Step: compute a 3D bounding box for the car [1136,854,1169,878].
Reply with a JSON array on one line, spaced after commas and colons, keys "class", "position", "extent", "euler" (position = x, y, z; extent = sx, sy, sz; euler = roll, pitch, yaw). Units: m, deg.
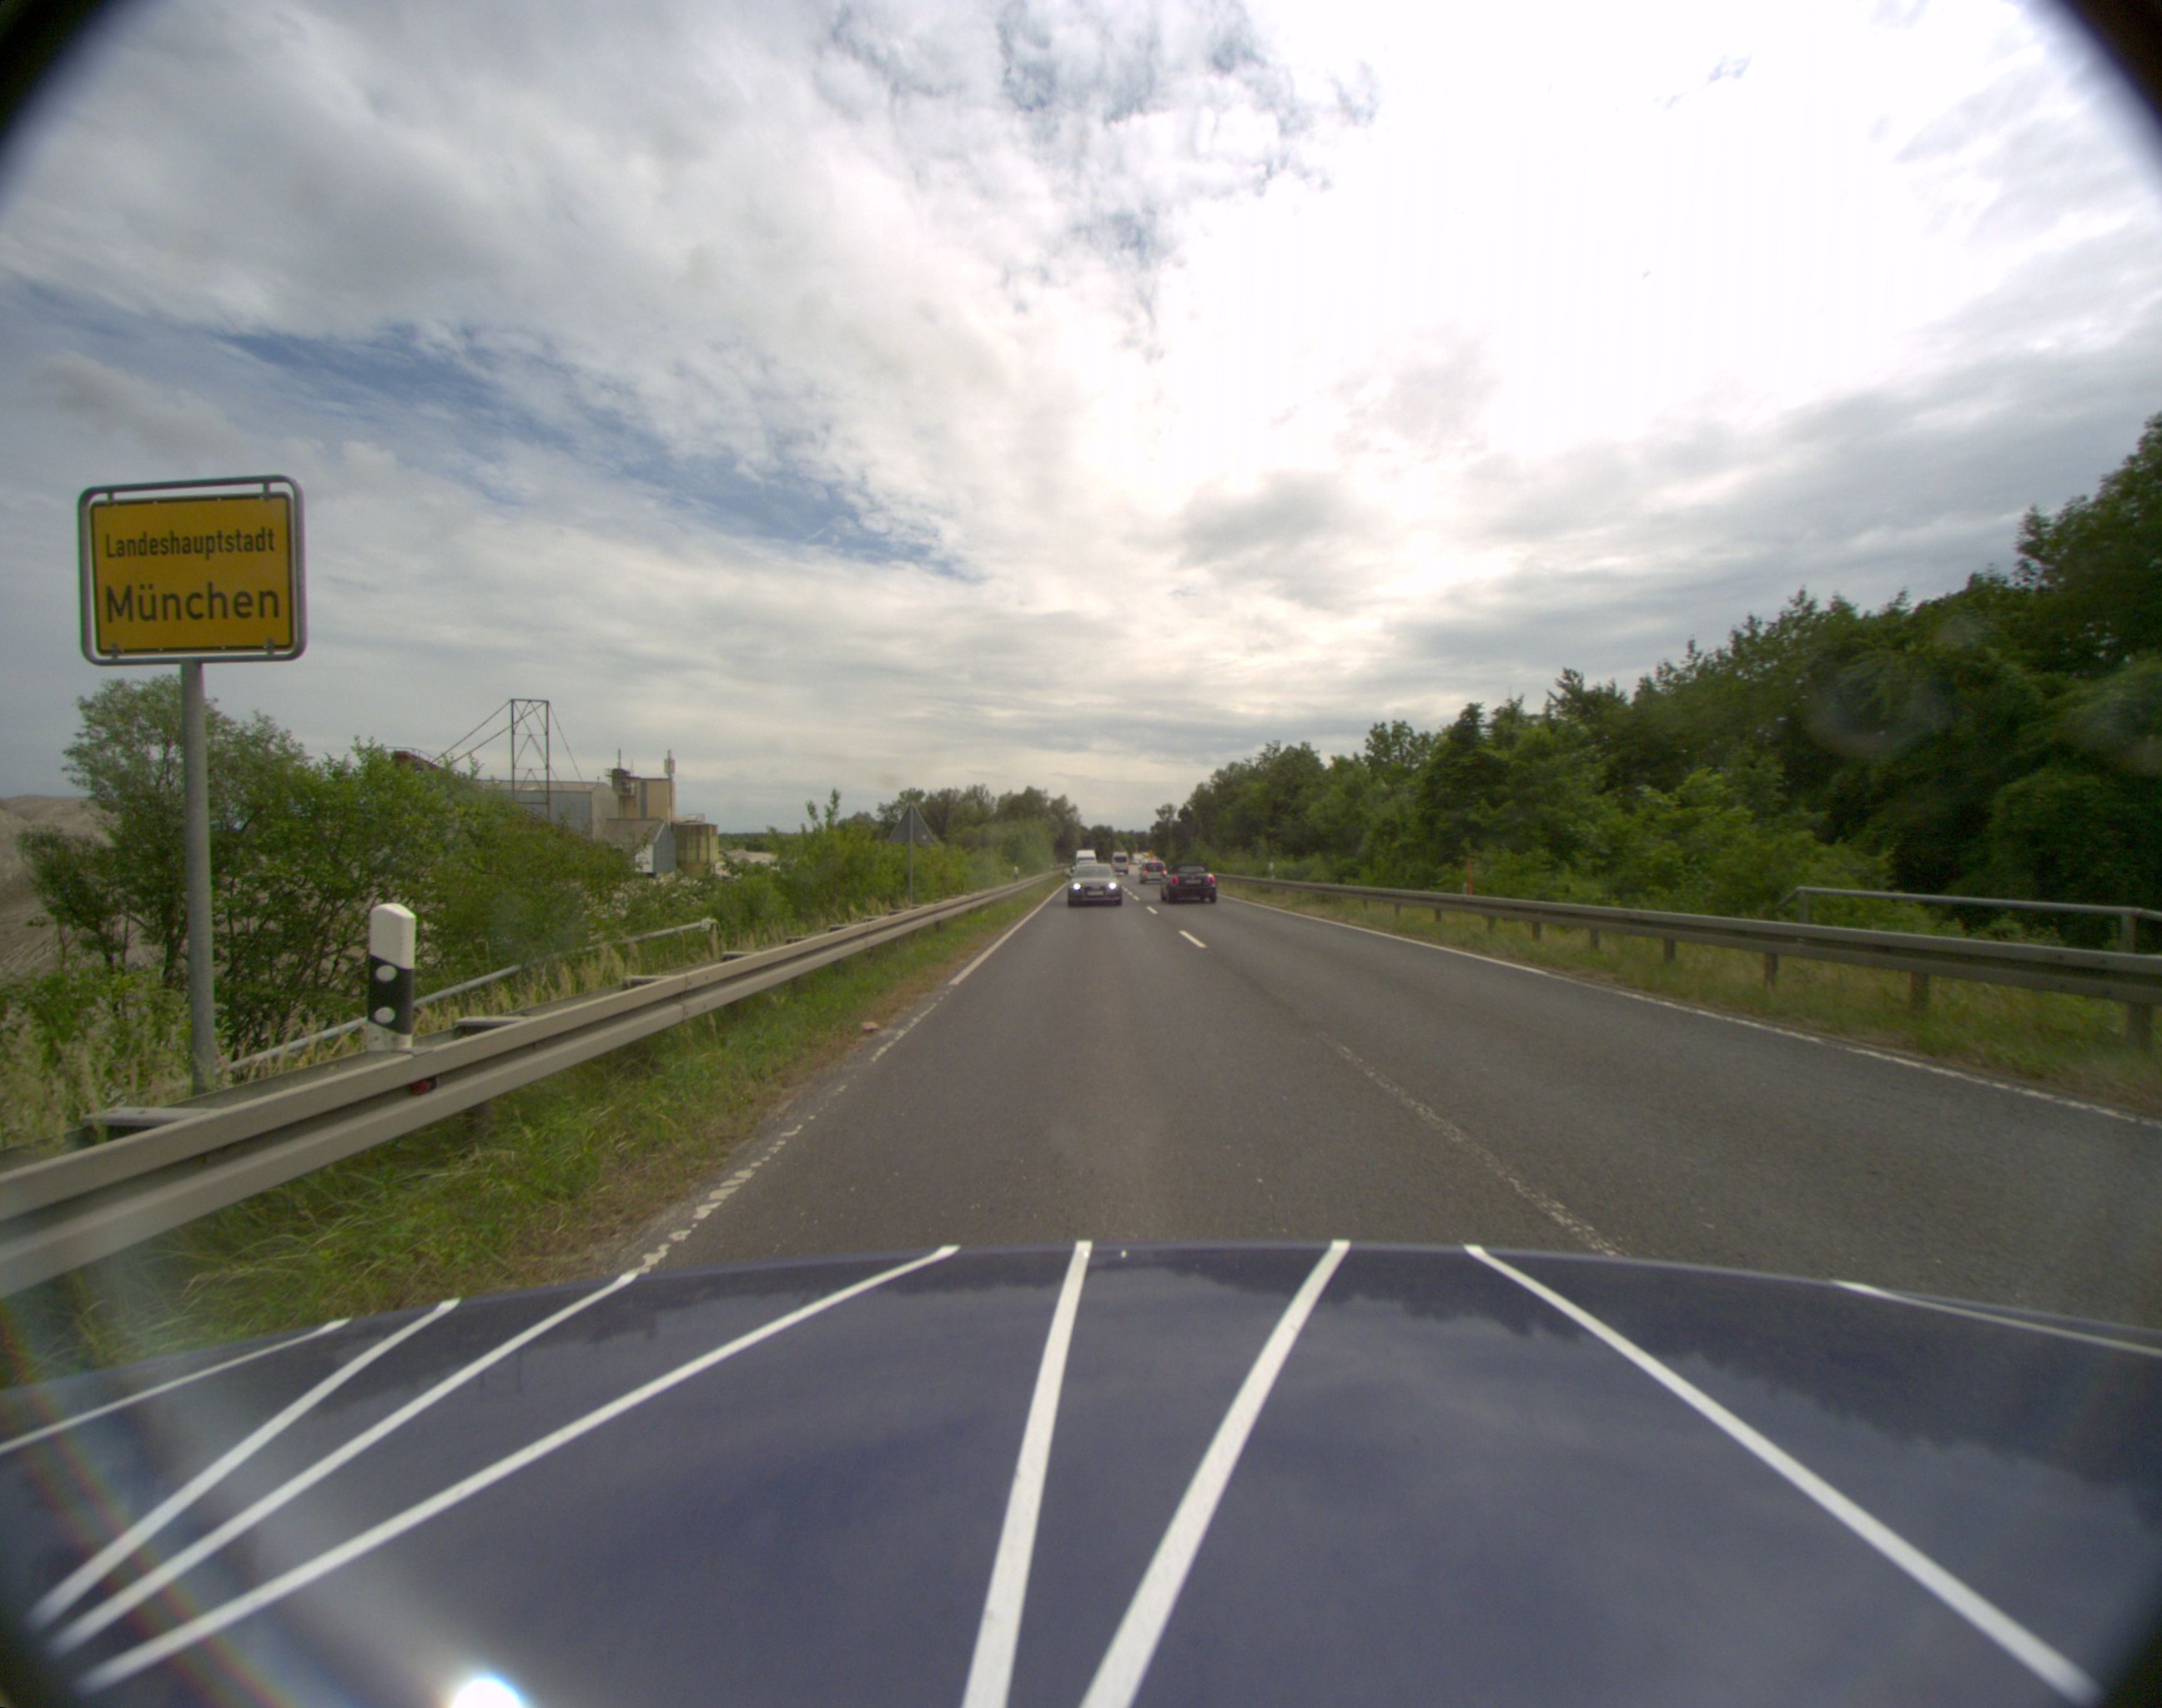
[{"class": "car", "position": [4.678, 0.753, 50.274], "extent": [1.840, 1.436, 4.000], "euler": [-2, 0, 2]}]

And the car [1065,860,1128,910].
[{"class": "car", "position": [0.557, 1.018, 26.678], "extent": [1.965, 1.446, 4.796], "euler": [-2, 1, 1]}]

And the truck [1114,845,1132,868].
[{"class": "truck", "position": [5.195, 0.270, 94.210], "extent": [2.070, 2.726, 7.007], "euler": [-3, 0, 2]}]

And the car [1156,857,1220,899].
[{"class": "car", "position": [3.862, 0.837, 28.052], "extent": [1.840, 1.411, 4.000], "euler": [-1, 0, 1]}]

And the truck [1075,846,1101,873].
[{"class": "truck", "position": [0.655, 0.488, 75.329], "extent": [2.379, 2.579, 5.997], "euler": [2, 1, -1]}]
